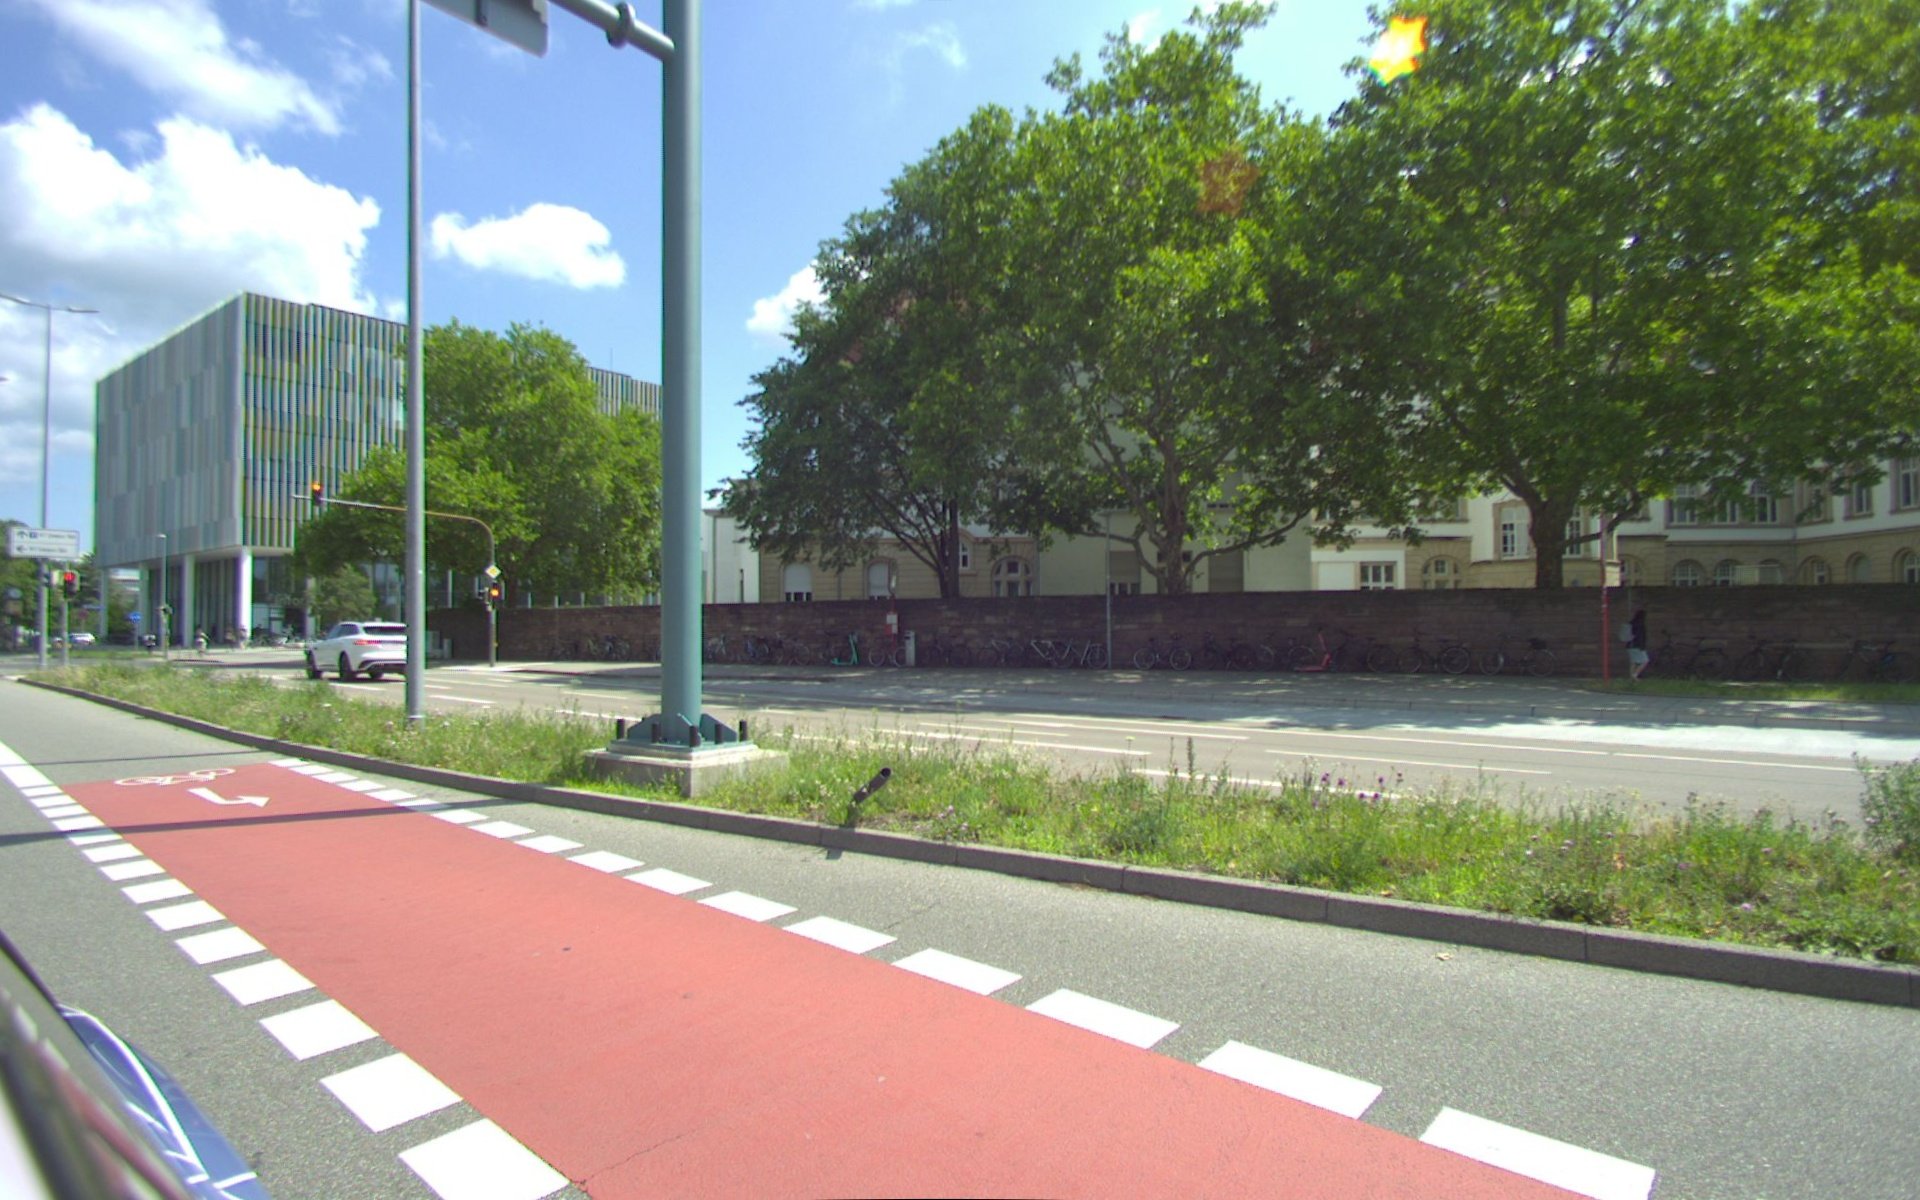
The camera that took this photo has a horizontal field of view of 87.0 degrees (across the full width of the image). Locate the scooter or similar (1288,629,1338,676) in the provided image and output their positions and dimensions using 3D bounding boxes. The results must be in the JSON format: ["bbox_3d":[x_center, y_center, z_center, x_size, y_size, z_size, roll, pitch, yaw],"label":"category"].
[{"bbox_3d":[9.215,1.369,26.424,1.184,1.192,0.430,-1,-2,20],"label":"scooter or similar"}]

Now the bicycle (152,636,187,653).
[{"bbox_3d":[-71.824,4.004,92.000,0.621,1.506,2.420,-2,-2,41],"label":"bicycle"}]

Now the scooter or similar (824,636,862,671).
[{"bbox_3d":[-3.891,1.765,33.592,1.184,1.161,0.430,-1,-2,20],"label":"scooter or similar"}]

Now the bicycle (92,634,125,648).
[{"bbox_3d":[-88.451,4.246,105.134,0.621,1.506,2.479,-2,-2,41],"label":"bicycle"}]

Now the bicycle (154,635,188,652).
[{"bbox_3d":[-72.404,4.020,92.872,2.473,1.506,0.731,1,-2,-39],"label":"bicycle"}]

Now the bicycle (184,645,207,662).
[{"bbox_3d":[-47.319,3.314,62.651,0.636,1.006,2.170,0,-2,-23],"label":"bicycle"}]

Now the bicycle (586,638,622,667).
[{"bbox_3d":[-14.553,2.126,41.348,1.589,1.161,0.495,-2,-2,33],"label":"bicycle"}]

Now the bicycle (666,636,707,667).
[{"bbox_3d":[-10.407,1.944,38.508,1.581,1.161,0.400,-1,-2,18],"label":"bicycle"}]

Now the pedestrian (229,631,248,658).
[{"bbox_3d":[-51.830,3.169,72.703,0.955,1.940,0.882,0,-2,-23],"label":"pedestrian"}]

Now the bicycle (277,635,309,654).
[{"bbox_3d":[-52.736,3.499,80.021,0.919,1.505,2.690,0,-1,-4],"label":"bicycle"}]

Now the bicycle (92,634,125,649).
[{"bbox_3d":[-87.990,4.236,104.596,0.621,1.506,2.479,-2,-2,41],"label":"bicycle"}]

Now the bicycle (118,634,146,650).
[{"bbox_3d":[-82.002,4.157,100.270,0.621,1.506,2.044,-2,-2,41],"label":"bicycle"}]

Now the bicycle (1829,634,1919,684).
[{"bbox_3d":[20.267,1.296,22.280,1.614,1.059,0.541,-1,-2,24],"label":"bicycle"}]

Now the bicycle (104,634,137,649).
[{"bbox_3d":[-84.993,4.196,102.422,0.621,1.506,2.479,-2,-2,41],"label":"bicycle"}]

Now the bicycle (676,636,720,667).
[{"bbox_3d":[-9.788,1.921,37.866,1.576,1.161,0.401,-1,-2,8],"label":"bicycle"}]

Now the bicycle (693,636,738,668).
[{"bbox_3d":[-8.994,1.909,37.241,1.576,1.161,0.401,-1,-2,8],"label":"bicycle"}]

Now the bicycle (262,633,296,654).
[{"bbox_3d":[-53.779,3.411,79.923,0.797,1.656,3.420,0,-2,-8],"label":"bicycle"}]

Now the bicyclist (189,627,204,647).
[{"bbox_3d":[-47.369,2.272,62.774,0.608,1.235,0.836,0,-2,-26],"label":"bicyclist"}]

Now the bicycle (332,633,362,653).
[{"bbox_3d":[-48.575,3.376,80.228,0.983,1.564,3.423,0,-2,-13],"label":"bicycle"}]

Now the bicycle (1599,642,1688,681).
[{"bbox_3d":[16.198,1.451,24.017,1.656,0.909,0.540,-1,-2,26],"label":"bicycle"}]

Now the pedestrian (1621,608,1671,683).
[{"bbox_3d":[15.112,0.987,22.320,0.752,1.629,0.612,-1,-1,20],"label":"pedestrian"}]

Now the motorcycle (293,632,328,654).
[{"bbox_3d":[-51.401,3.397,80.134,0.957,1.652,3.301,0,-2,-5],"label":"motorcycle"}]

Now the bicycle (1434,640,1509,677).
[{"bbox_3d":[12.869,1.464,25.495,1.656,0.909,0.540,-1,-2,26],"label":"bicycle"}]

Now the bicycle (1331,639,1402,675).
[{"bbox_3d":[10.628,1.487,26.449,1.658,0.909,0.540,-1,-2,29],"label":"bicycle"}]

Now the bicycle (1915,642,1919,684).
[{"bbox_3d":[21.930,1.374,21.943,1.653,0.909,0.541,-1,-2,21],"label":"bicycle"}]

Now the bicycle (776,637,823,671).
[{"bbox_3d":[-5.590,1.875,35.287,1.582,1.161,0.530,-1,-2,20],"label":"bicycle"}]

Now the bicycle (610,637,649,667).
[{"bbox_3d":[-13.213,2.064,40.426,1.589,1.161,0.616,-2,-2,33],"label":"bicycle"}]

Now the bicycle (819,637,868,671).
[{"bbox_3d":[-3.968,1.836,34.515,1.582,1.161,0.530,-1,-2,20],"label":"bicycle"}]

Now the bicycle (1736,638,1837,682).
[{"bbox_3d":[18.740,1.359,22.991,1.655,0.959,0.541,-1,-2,24],"label":"bicycle"}]

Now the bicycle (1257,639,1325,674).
[{"bbox_3d":[8.934,1.505,27.321,1.658,0.909,0.540,-1,-2,29],"label":"bicycle"}]

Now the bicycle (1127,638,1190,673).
[{"bbox_3d":[5.628,1.576,28.718,1.658,0.956,0.540,-1,-2,29],"label":"bicycle"}]

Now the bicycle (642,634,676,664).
[{"bbox_3d":[-11.762,1.918,39.524,1.591,1.161,0.408,-2,-2,36],"label":"bicycle"}]

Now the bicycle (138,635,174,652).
[{"bbox_3d":[-74.808,4.043,94.178,0.621,1.506,2.479,-2,-2,41],"label":"bicycle"}]

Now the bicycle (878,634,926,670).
[{"bbox_3d":[-1.922,1.694,33.261,1.587,1.151,0.429,-2,-2,29],"label":"bicycle"}]

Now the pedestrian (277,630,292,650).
[{"bbox_3d":[-58.603,3.447,87.794,0.997,1.720,1.214,0,-2,-28],"label":"pedestrian"}]

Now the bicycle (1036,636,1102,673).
[{"bbox_3d":[3.244,1.615,30.122,1.887,1.055,0.540,-1,-2,29],"label":"bicycle"}]

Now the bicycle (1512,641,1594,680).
[{"bbox_3d":[14.381,1.455,24.577,1.663,0.909,0.497,-2,-2,38],"label":"bicycle"}]

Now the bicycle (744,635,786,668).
[{"bbox_3d":[-6.983,1.840,36.247,1.587,1.161,0.398,-2,-2,30],"label":"bicycle"}]

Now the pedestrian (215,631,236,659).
[{"bbox_3d":[-50.835,3.093,70.043,0.955,1.940,0.882,0,-2,-20],"label":"pedestrian"}]

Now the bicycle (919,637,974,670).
[{"bbox_3d":[-0.442,1.707,32.375,1.795,1.016,0.476,-2,-2,32],"label":"bicycle"}]

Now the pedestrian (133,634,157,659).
[{"bbox_3d":[-53.560,3.049,66.518,0.875,1.641,0.962,-1,-2,29],"label":"pedestrian"}]

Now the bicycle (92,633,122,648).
[{"bbox_3d":[-89.364,4.264,106.046,0.656,1.506,2.273,-2,-2,41],"label":"bicycle"}]

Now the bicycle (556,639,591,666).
[{"bbox_3d":[-16.224,2.197,42.460,1.589,1.107,0.567,-2,-2,33],"label":"bicycle"}]

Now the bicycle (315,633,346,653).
[{"bbox_3d":[-49.959,3.376,80.351,1.034,1.564,3.423,0,-2,-13],"label":"bicycle"}]

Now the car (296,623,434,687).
[{"bbox_3d":[-16.923,1.513,28.686,4.774,1.680,2.048,-2,-2,42],"label":"car"}]

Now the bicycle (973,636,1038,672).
[{"bbox_3d":[1.397,1.660,31.272,1.941,1.055,0.540,-1,-2,29],"label":"bicycle"}]
